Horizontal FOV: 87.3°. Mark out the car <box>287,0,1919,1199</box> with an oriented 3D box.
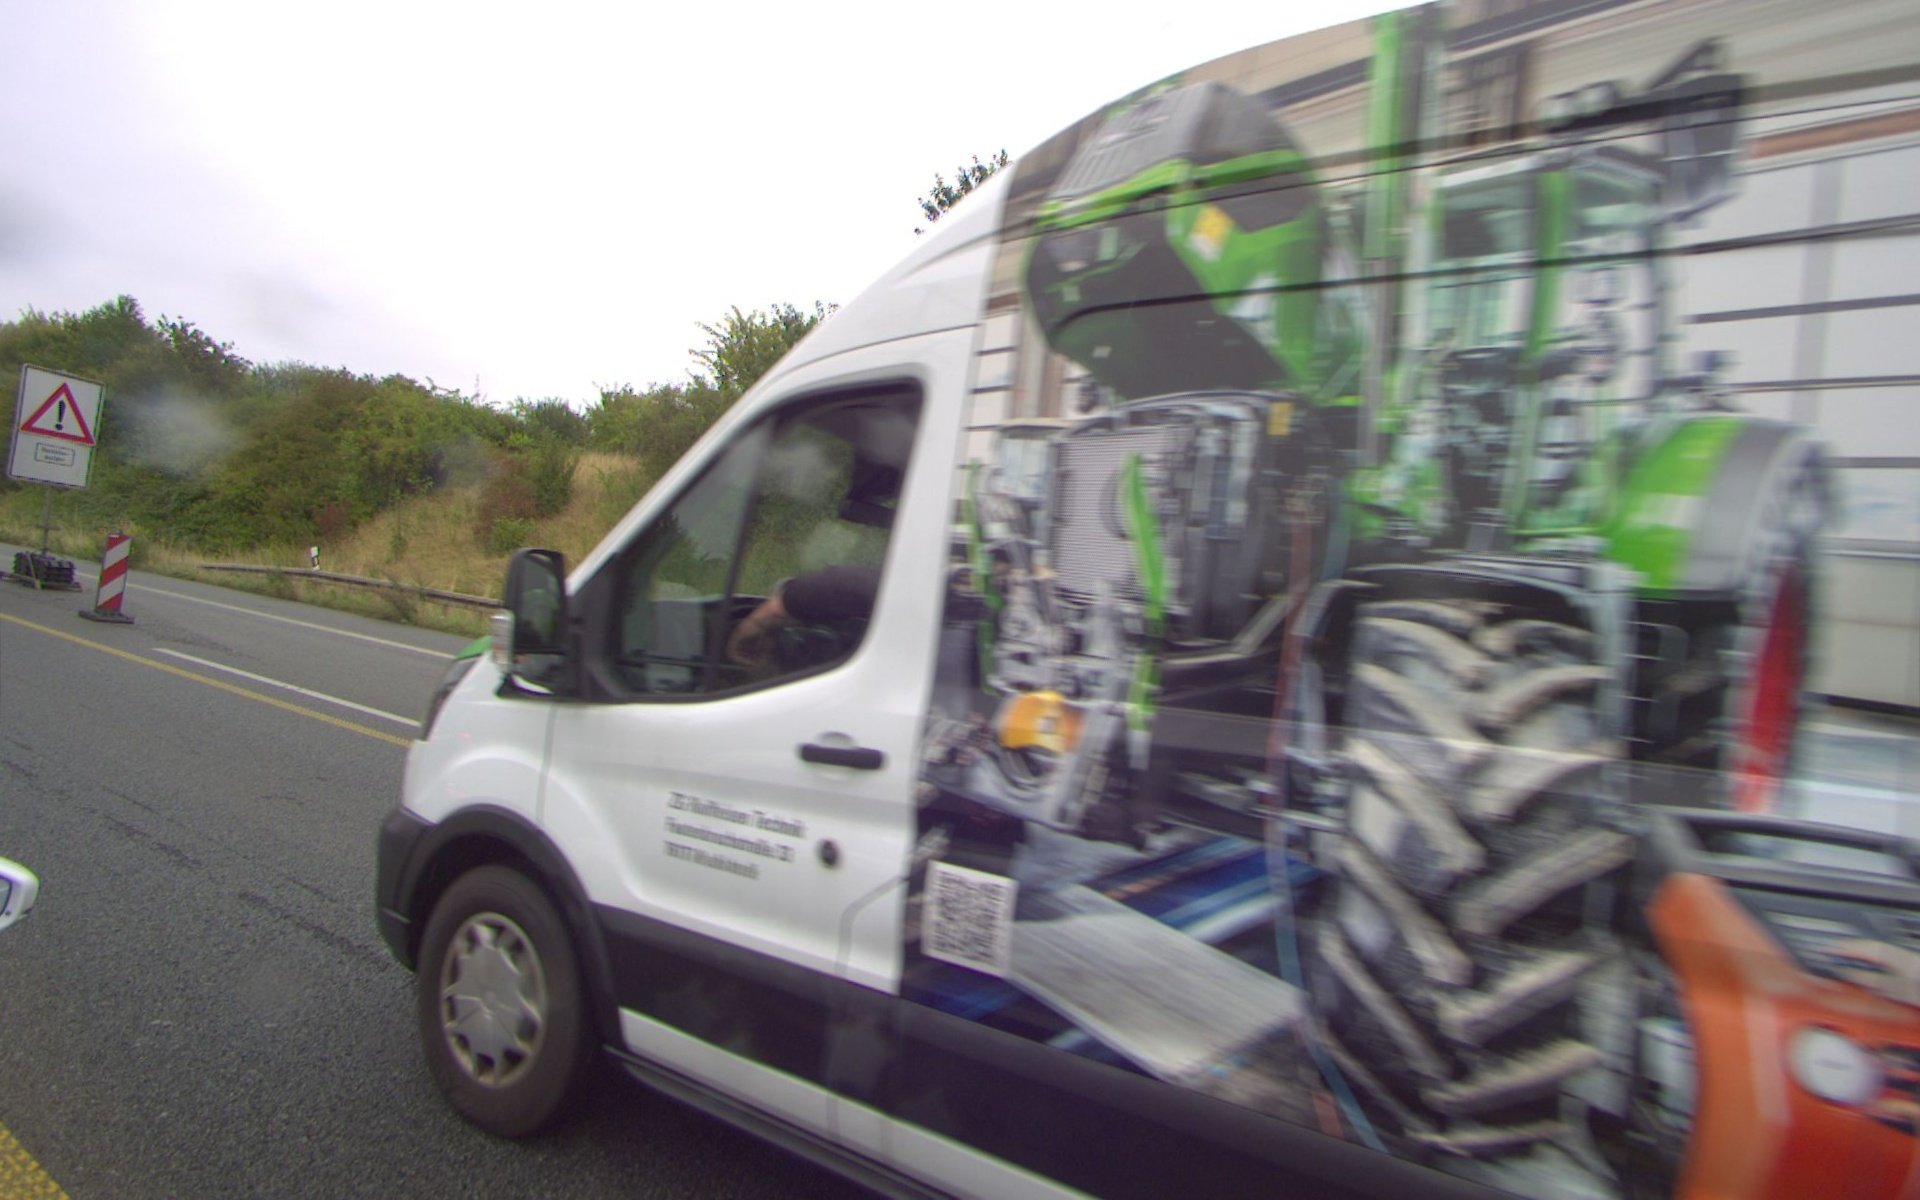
[{"bbox_3d":[1.057,0.250,2.422,5.659,2.816,1.997,7,0,31],"label":"car"}]
